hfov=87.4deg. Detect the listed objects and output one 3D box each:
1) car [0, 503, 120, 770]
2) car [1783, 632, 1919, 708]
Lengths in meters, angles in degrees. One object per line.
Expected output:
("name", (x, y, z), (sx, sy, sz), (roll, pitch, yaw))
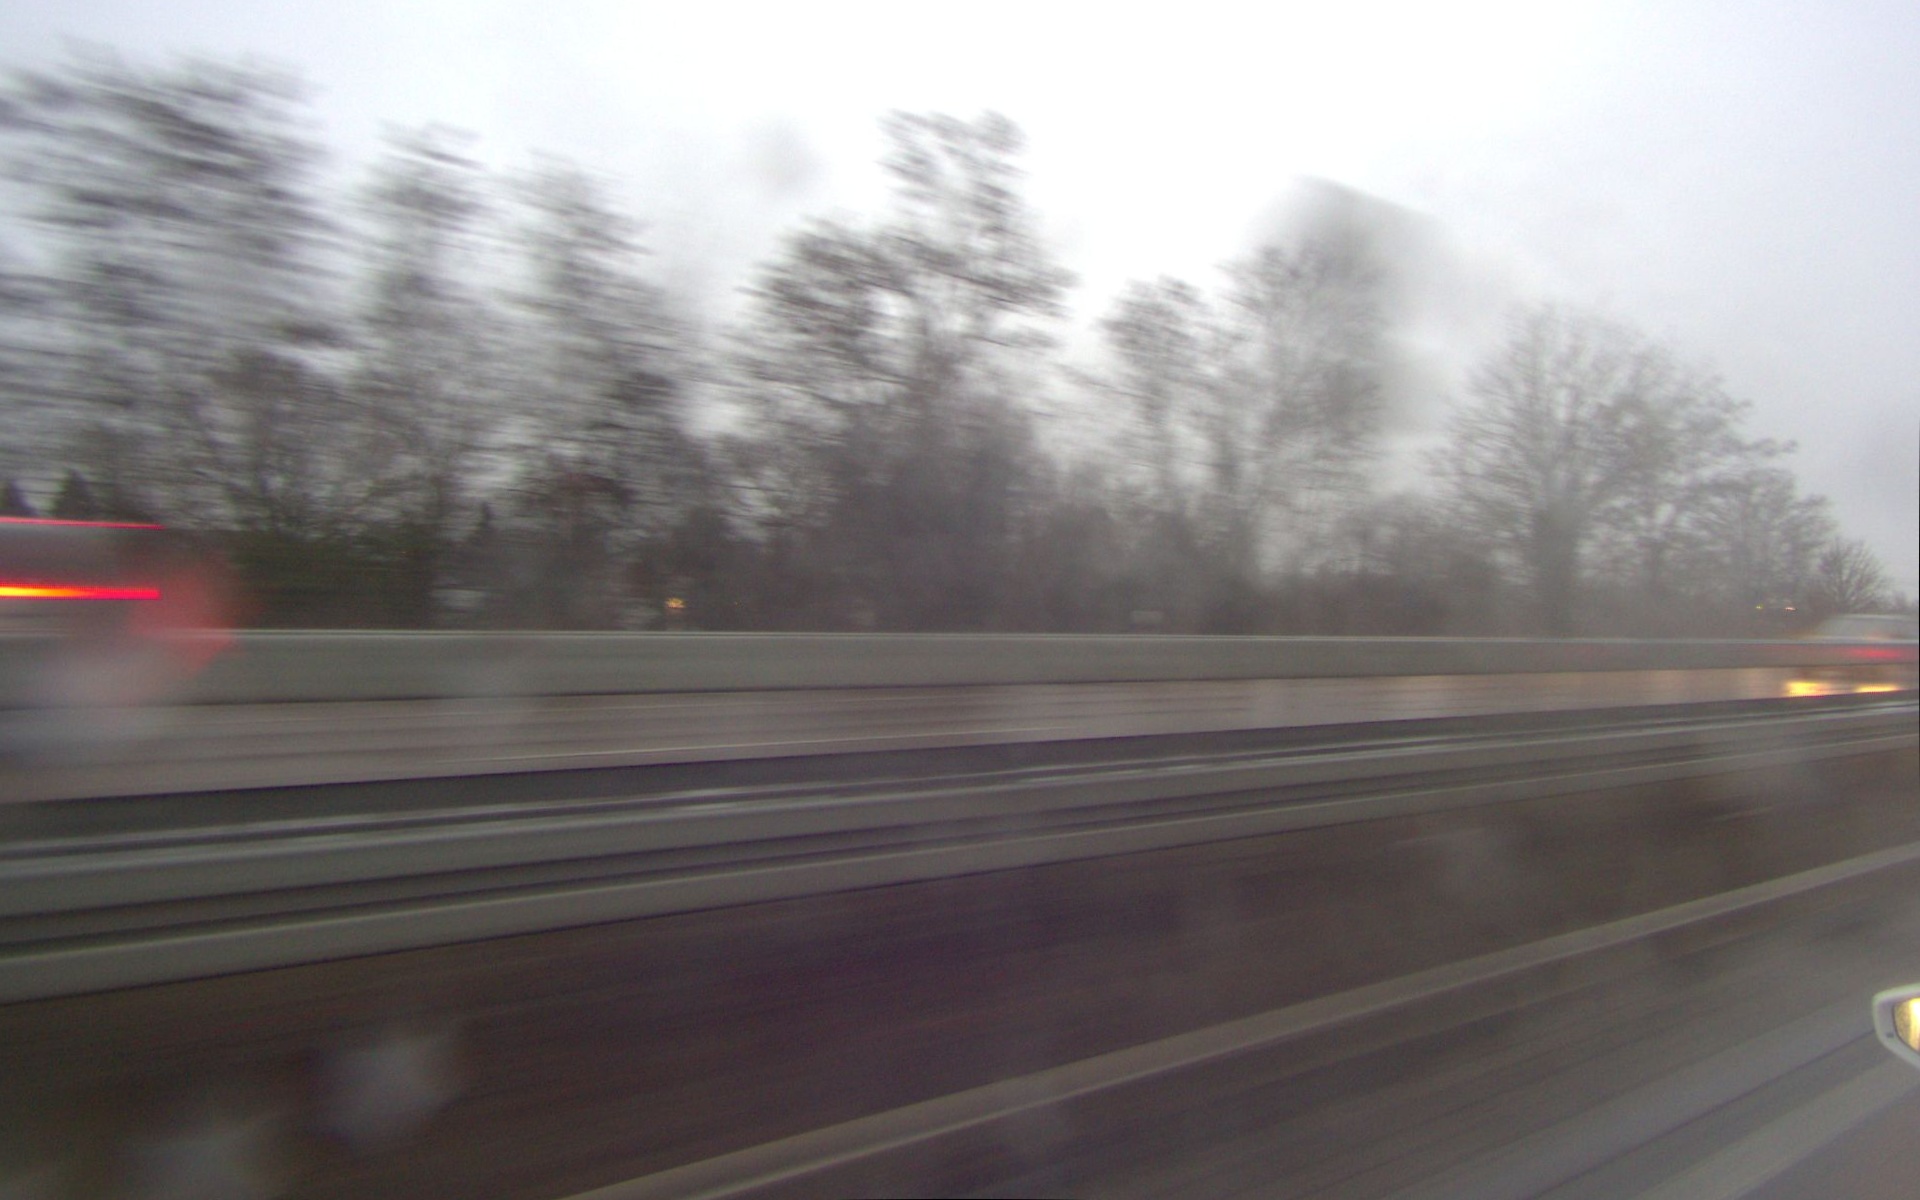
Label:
("car", (-9.269, 0.210, 7.351), (4.487, 1.999, 1.924), (2, -1, -32))
("car", (23.827, 1.842, 26.674), (4.087, 1.857, 1.737), (3, -3, -30))
